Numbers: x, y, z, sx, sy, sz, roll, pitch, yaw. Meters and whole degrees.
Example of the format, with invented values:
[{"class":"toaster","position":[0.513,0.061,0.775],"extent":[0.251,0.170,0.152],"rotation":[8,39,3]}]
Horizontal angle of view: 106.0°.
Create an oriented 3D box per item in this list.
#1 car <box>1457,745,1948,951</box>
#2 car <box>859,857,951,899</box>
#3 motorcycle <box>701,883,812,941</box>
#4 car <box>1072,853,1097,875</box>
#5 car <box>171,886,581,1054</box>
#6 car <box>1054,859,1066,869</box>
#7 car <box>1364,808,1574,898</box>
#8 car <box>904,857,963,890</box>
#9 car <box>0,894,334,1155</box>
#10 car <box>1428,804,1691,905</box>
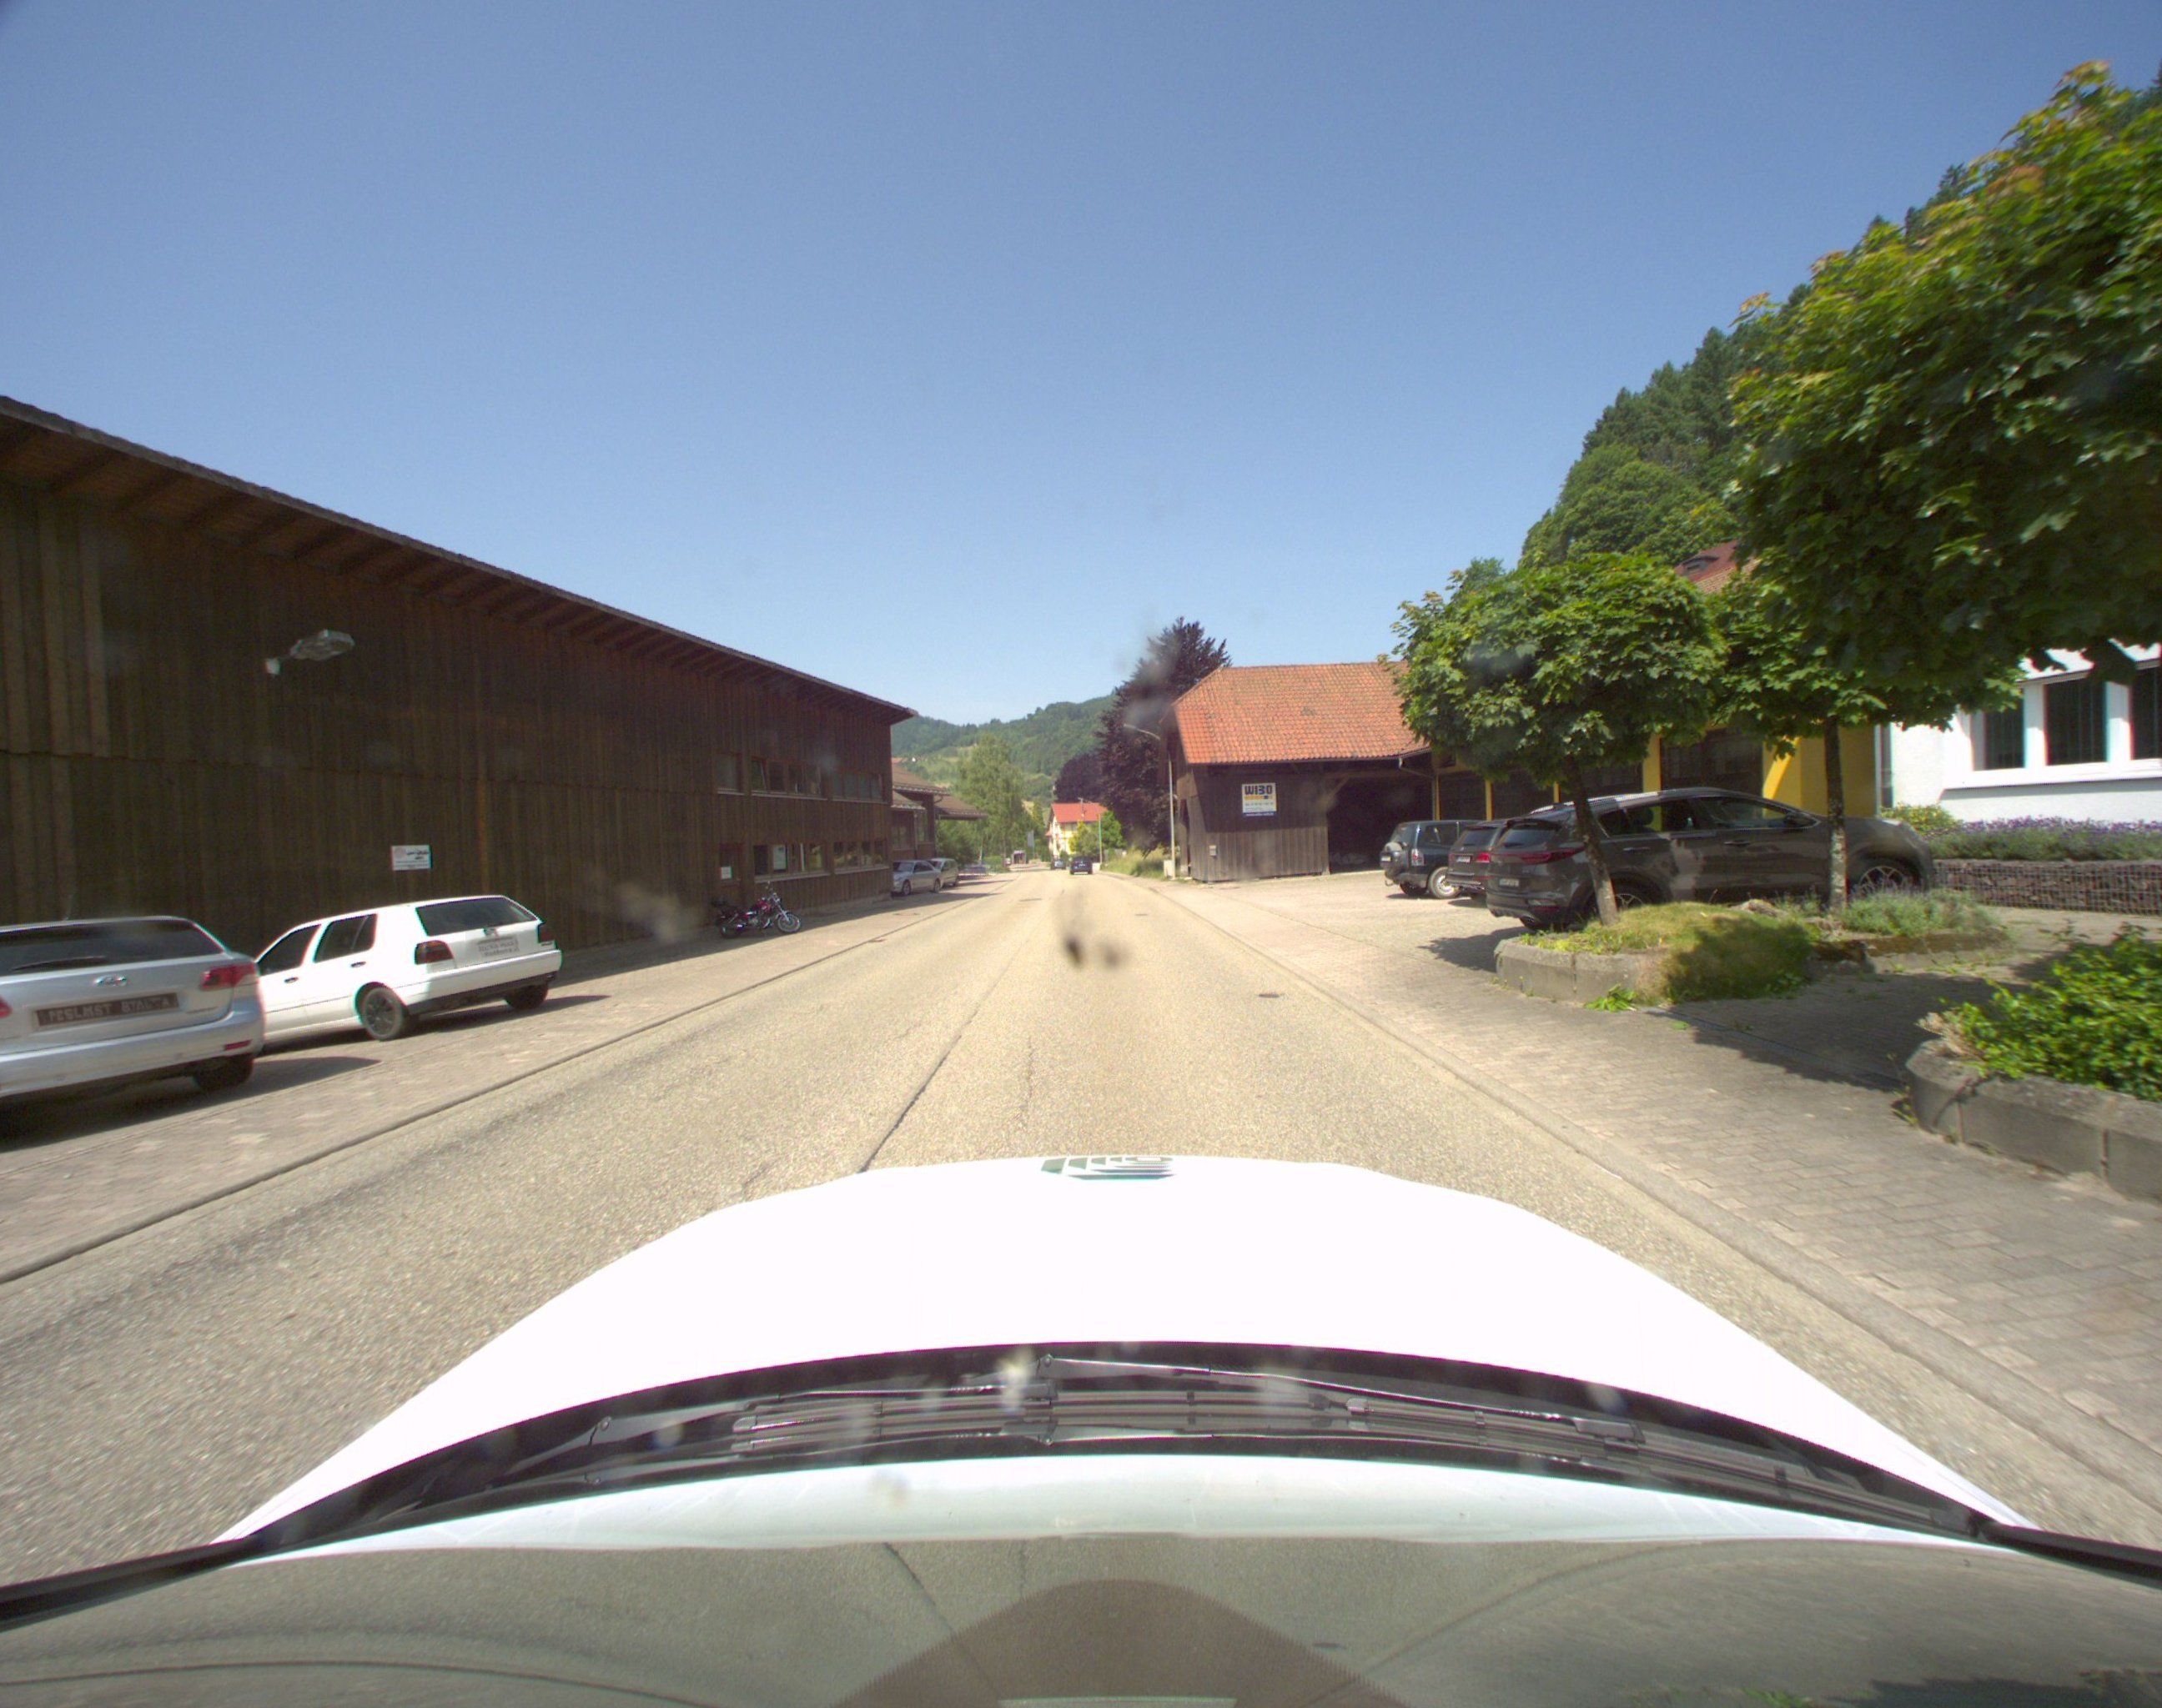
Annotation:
[{"class":"car","position":[7.018,-0.053,9.600],"extent":[4.202,1.687,1.779],"rotation":[-7,0,4]},{"class":"car","position":[-7.236,0.952,34.101],"extent":[1.716,1.454,4.824],"rotation":[-2,1,15]},{"class":"motorcycle","position":[-7.885,1.407,19.811],"extent":[2.393,1.264,0.745],"rotation":[-3,0,10]},{"class":"car","position":[0.237,0.869,70.260],"extent":[1.915,1.698,3.784],"rotation":[-3,0,-3]},{"class":"car","position":[-7.942,1.280,9.268],"extent":[3.631,1.385,1.718],"rotation":[-7,-1,16]},{"class":"car","position":[-2.752,1.311,107.731],"extent":[1.474,1.209,2.381],"rotation":[-3,0,-4]},{"class":"car","position":[9.326,-0.022,19.817],"extent":[4.117,1.832,1.952],"rotation":[-3,0,-3]},{"class":"car","position":[-7.659,0.960,42.741],"extent":[1.570,1.570,4.037],"rotation":[1,1,12]},{"class":"car","position":[-8.373,1.299,6.545],"extent":[4.388,1.474,1.936],"rotation":[-6,-1,26]},{"class":"car","position":[9.959,0.005,17.165],"extent":[4.412,1.759,1.949],"rotation":[-3,0,-5]}]
